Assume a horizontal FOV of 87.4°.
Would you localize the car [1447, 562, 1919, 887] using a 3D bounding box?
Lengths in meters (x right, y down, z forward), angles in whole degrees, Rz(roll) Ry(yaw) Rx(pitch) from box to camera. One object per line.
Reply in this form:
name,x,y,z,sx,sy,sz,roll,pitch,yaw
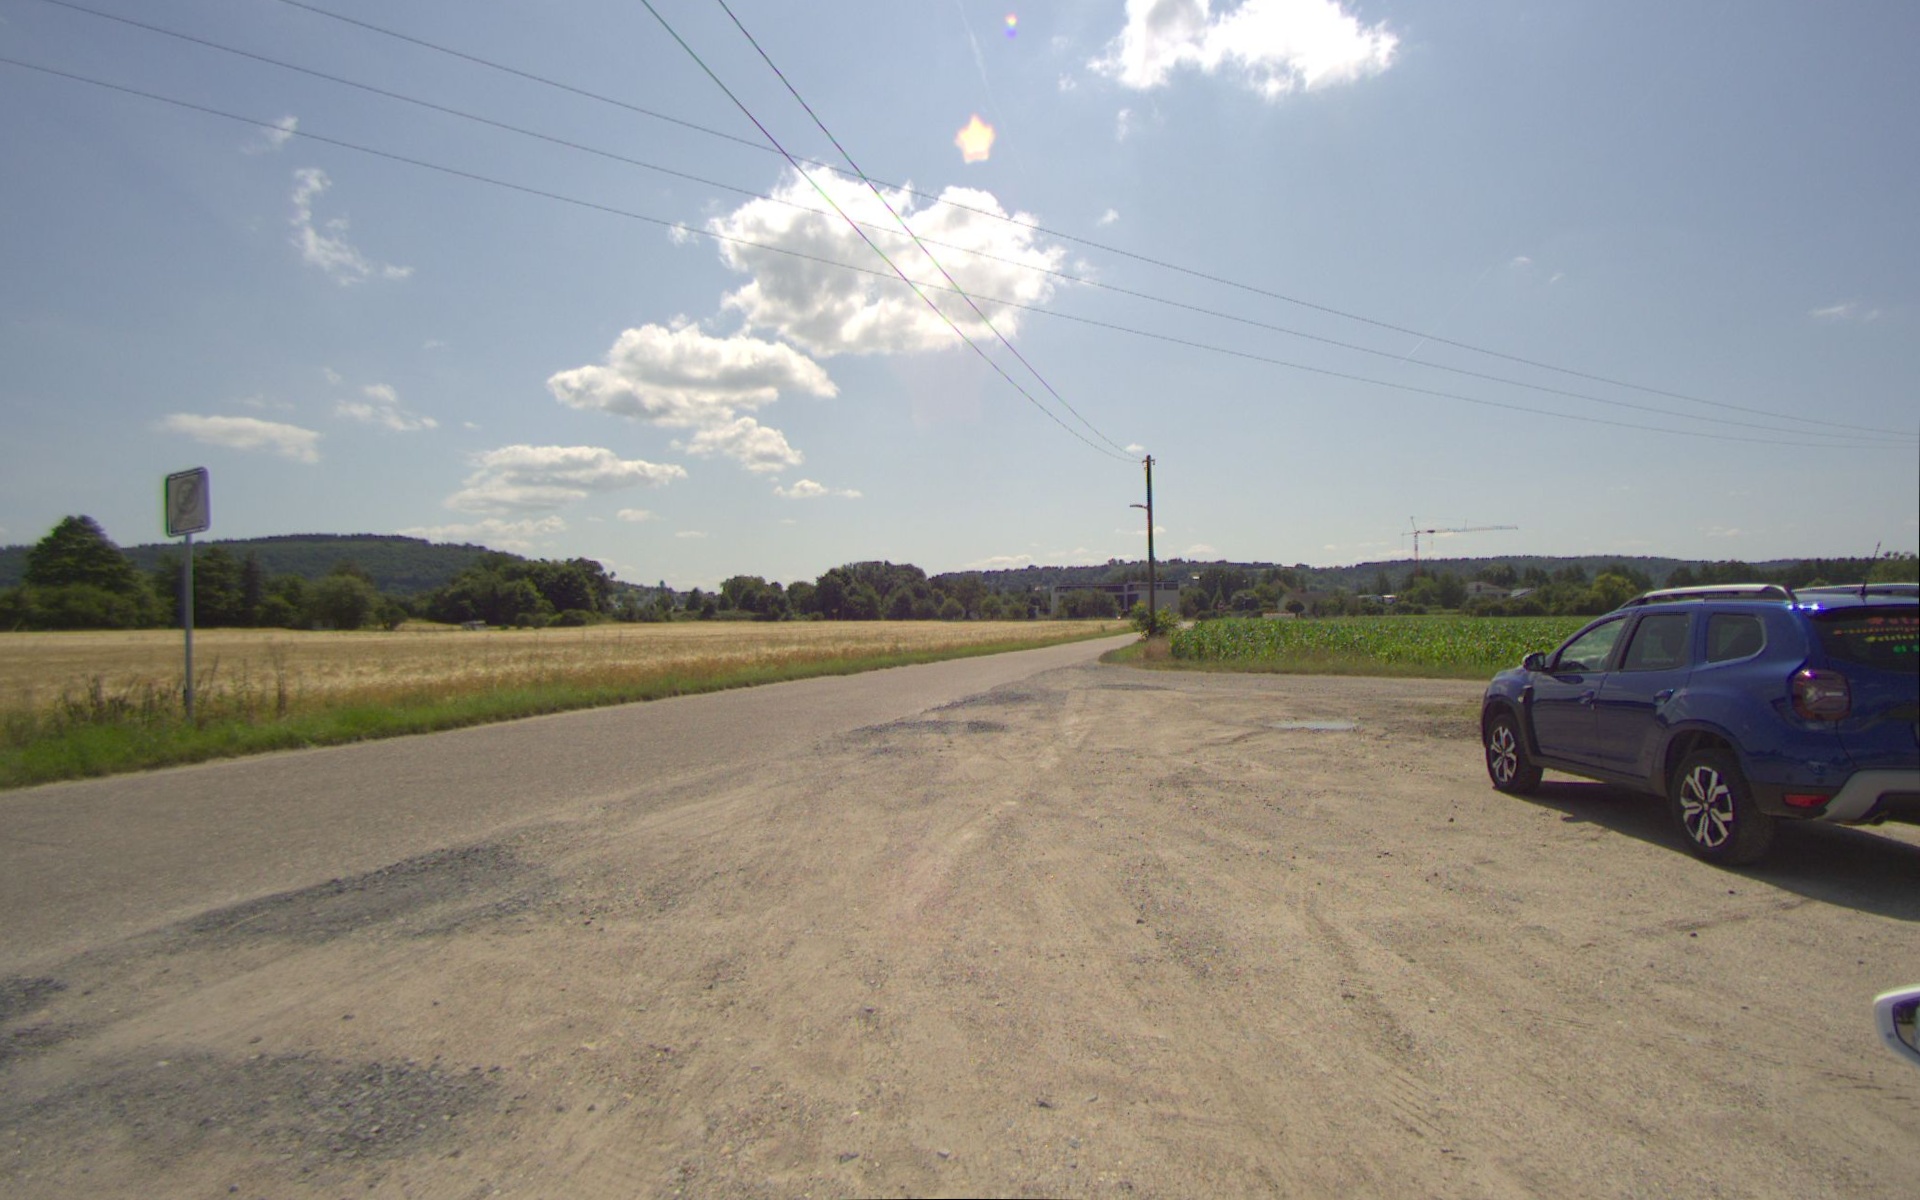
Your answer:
car,5.453,0.708,7.407,1.827,1.683,4.461,0,-2,4
